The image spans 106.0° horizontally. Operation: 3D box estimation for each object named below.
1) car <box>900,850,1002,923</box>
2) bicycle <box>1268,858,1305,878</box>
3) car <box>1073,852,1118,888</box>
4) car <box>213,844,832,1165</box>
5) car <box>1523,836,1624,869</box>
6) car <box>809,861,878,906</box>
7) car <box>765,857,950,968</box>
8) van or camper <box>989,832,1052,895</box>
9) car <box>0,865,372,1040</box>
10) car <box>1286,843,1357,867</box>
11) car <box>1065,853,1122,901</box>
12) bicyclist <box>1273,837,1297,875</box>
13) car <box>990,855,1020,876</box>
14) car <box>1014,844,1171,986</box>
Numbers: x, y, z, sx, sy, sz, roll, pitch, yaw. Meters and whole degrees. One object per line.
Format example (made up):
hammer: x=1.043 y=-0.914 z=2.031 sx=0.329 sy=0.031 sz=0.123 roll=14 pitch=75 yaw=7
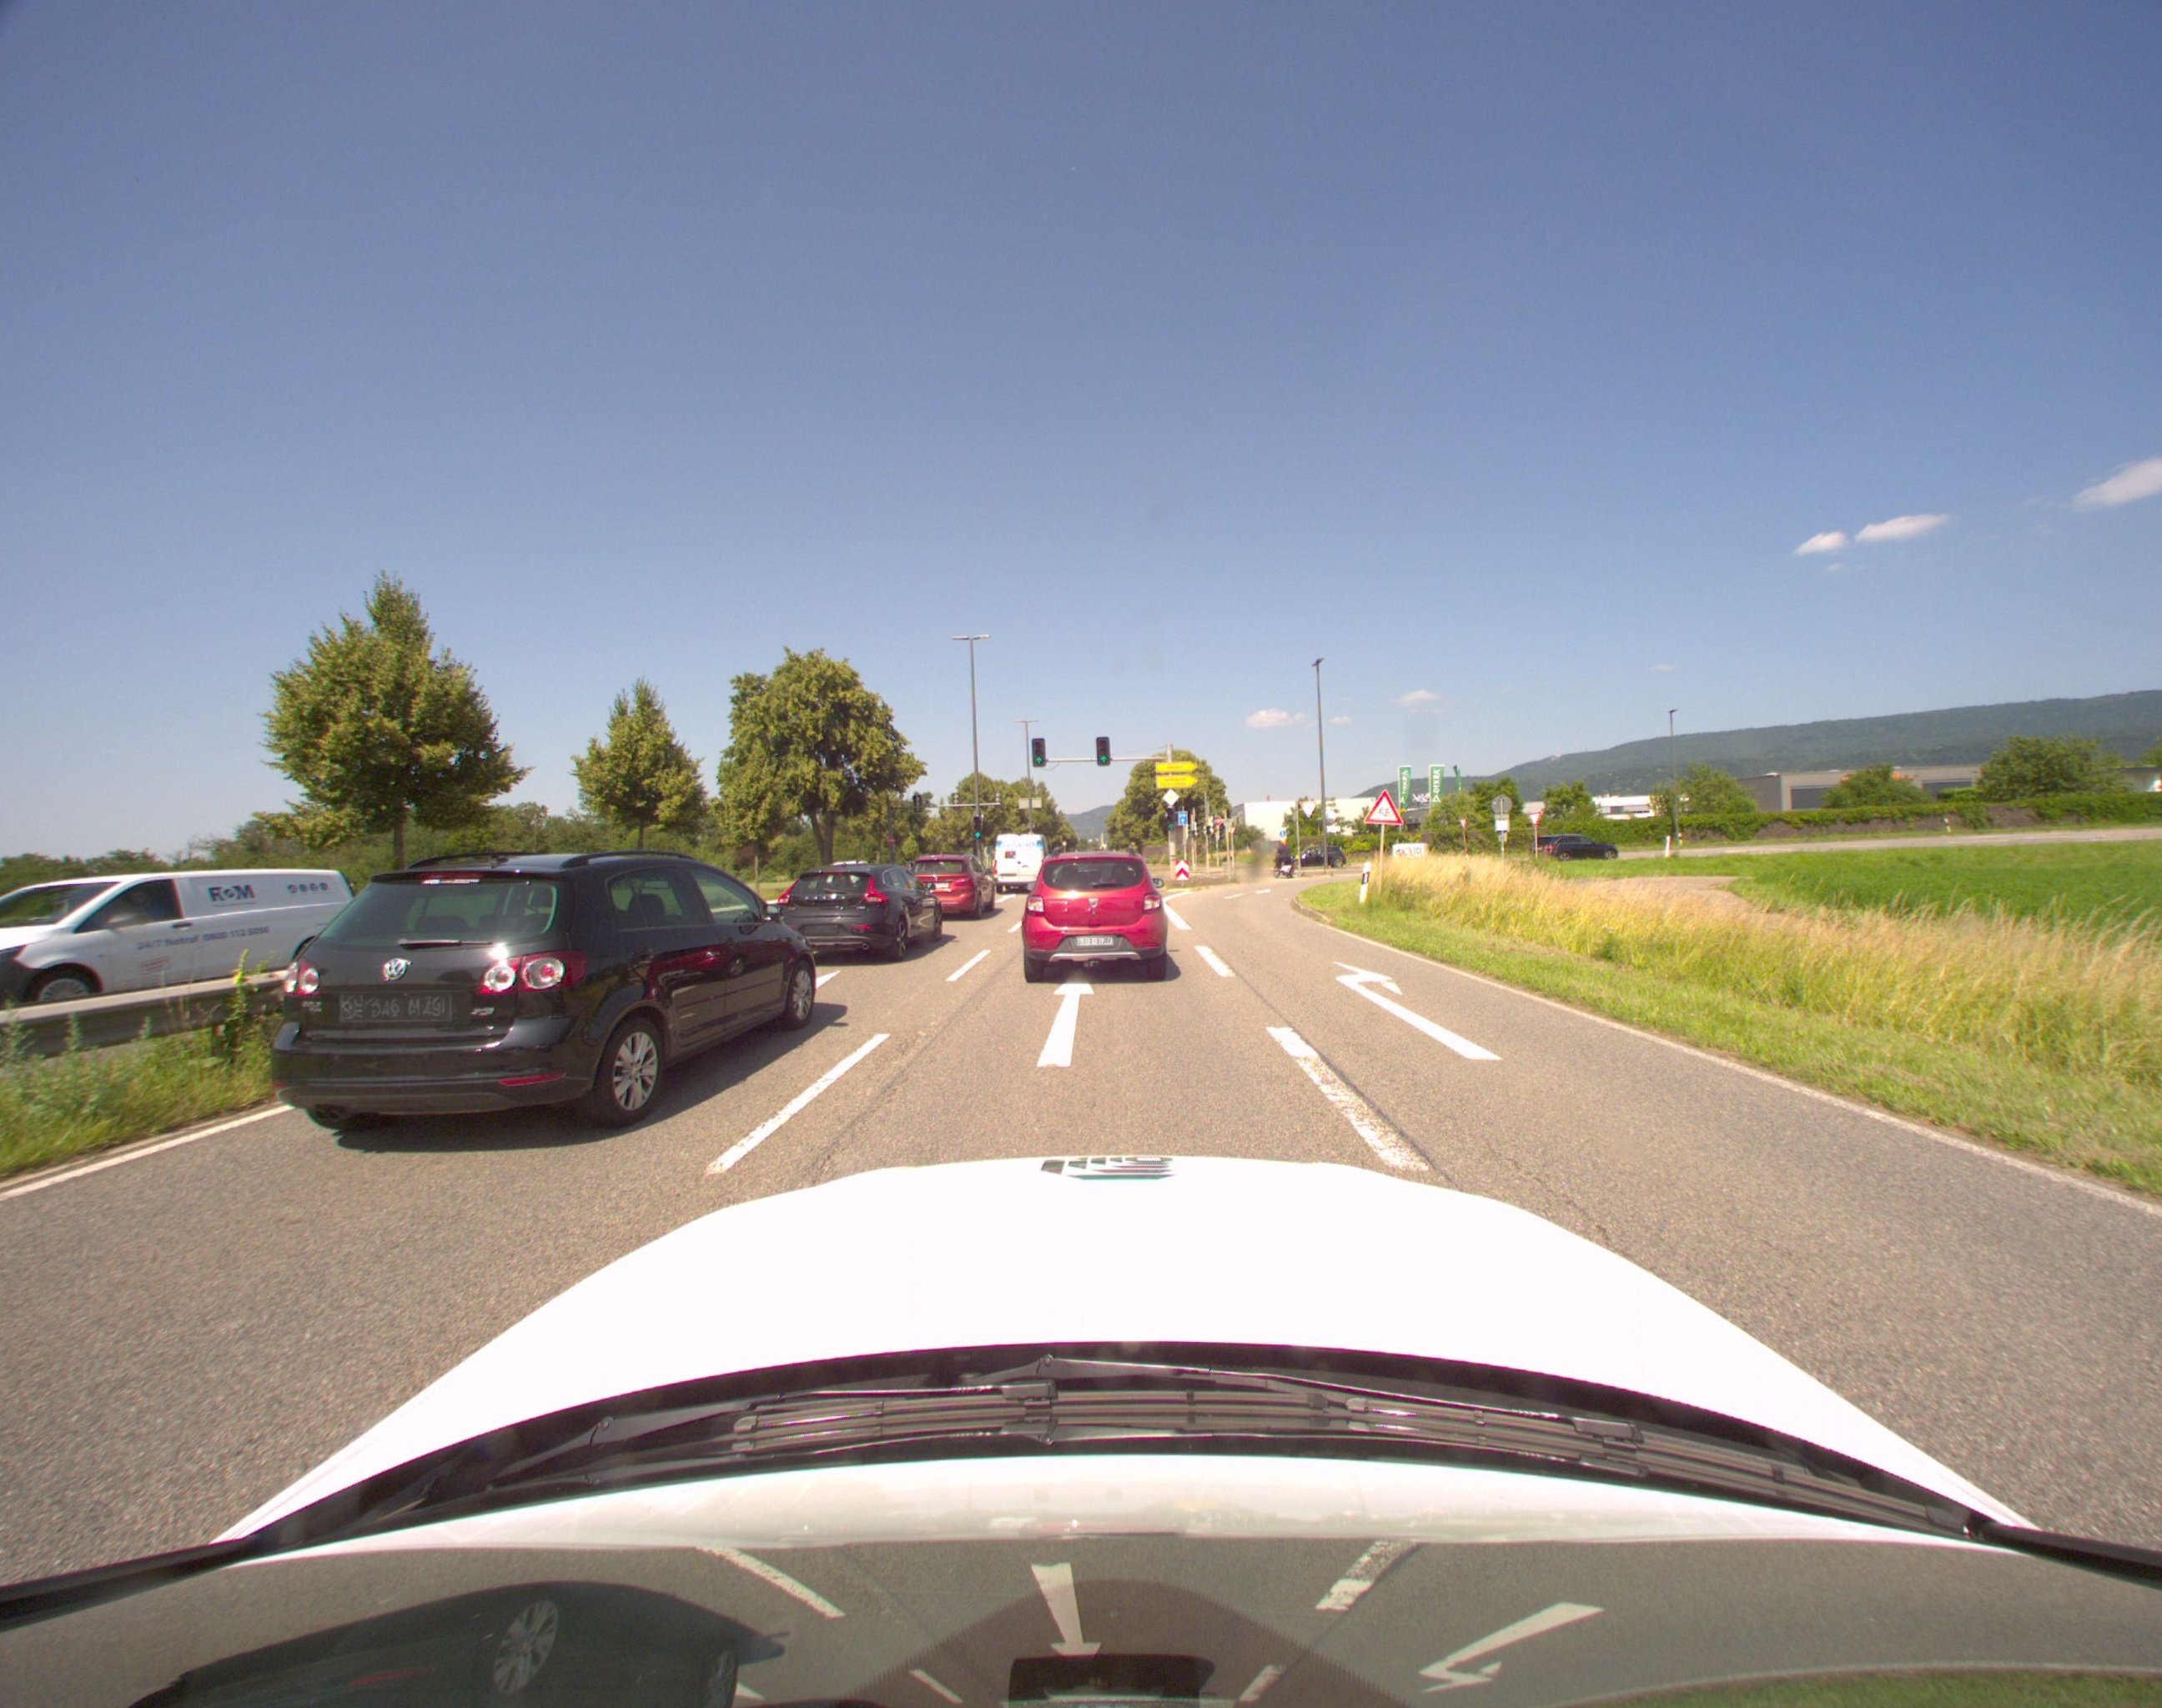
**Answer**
car: x=-3.129 y=0.726 z=20.402 sx=1.717 sy=1.600 sz=3.958 roll=-1 pitch=0 yaw=2
bicycle: x=9.935 y=0.661 z=39.533 sx=0.761 sy=0.915 sz=2.773 roll=-3 pitch=0 yaw=-7
car: x=0.672 y=0.655 z=35.433 sx=1.742 sy=1.458 sz=3.680 roll=-1 pitch=0 yaw=3
car: x=-3.370 y=0.727 z=5.984 sx=1.716 sy=1.575 sz=3.895 roll=-1 pitch=1 yaw=2
car: x=26.153 y=-0.100 z=43.321 sx=4.324 sy=1.616 sz=1.994 roll=-1 pitch=0 yaw=-9
car: x=-9.591 y=1.138 z=33.175 sx=1.742 sy=1.638 sz=4.130 roll=-3 pitch=0 yaw=-4
car: x=-3.345 y=0.802 z=13.010 sx=1.695 sy=1.442 sz=3.958 roll=-1 pitch=1 yaw=2
van or camper: x=-2.346 y=0.355 z=32.832 sx=2.172 sy=2.303 sz=4.825 roll=-1 pitch=0 yaw=-1
car: x=-13.426 y=1.203 z=11.698 sx=1.987 sy=1.931 sz=5.016 roll=-3 pitch=0 yaw=0
car: x=14.843 y=0.054 z=50.352 sx=3.964 sy=1.327 sz=1.811 roll=-3 pitch=0 yaw=8
car: x=0.483 y=0.734 z=27.829 sx=1.742 sy=1.458 sz=3.680 roll=-1 pitch=0 yaw=3
bicyclist: x=9.896 y=0.092 z=39.535 sx=0.801 sy=1.771 sz=0.806 roll=-2 pitch=0 yaw=-8
car: x=-6.488 y=0.964 z=69.776 sx=1.986 sy=1.670 sz=4.001 roll=-3 pitch=0 yaw=1
car: x=0.238 y=0.688 z=11.018 sx=1.742 sy=1.575 sz=3.680 roll=-1 pitch=0 yaw=3
